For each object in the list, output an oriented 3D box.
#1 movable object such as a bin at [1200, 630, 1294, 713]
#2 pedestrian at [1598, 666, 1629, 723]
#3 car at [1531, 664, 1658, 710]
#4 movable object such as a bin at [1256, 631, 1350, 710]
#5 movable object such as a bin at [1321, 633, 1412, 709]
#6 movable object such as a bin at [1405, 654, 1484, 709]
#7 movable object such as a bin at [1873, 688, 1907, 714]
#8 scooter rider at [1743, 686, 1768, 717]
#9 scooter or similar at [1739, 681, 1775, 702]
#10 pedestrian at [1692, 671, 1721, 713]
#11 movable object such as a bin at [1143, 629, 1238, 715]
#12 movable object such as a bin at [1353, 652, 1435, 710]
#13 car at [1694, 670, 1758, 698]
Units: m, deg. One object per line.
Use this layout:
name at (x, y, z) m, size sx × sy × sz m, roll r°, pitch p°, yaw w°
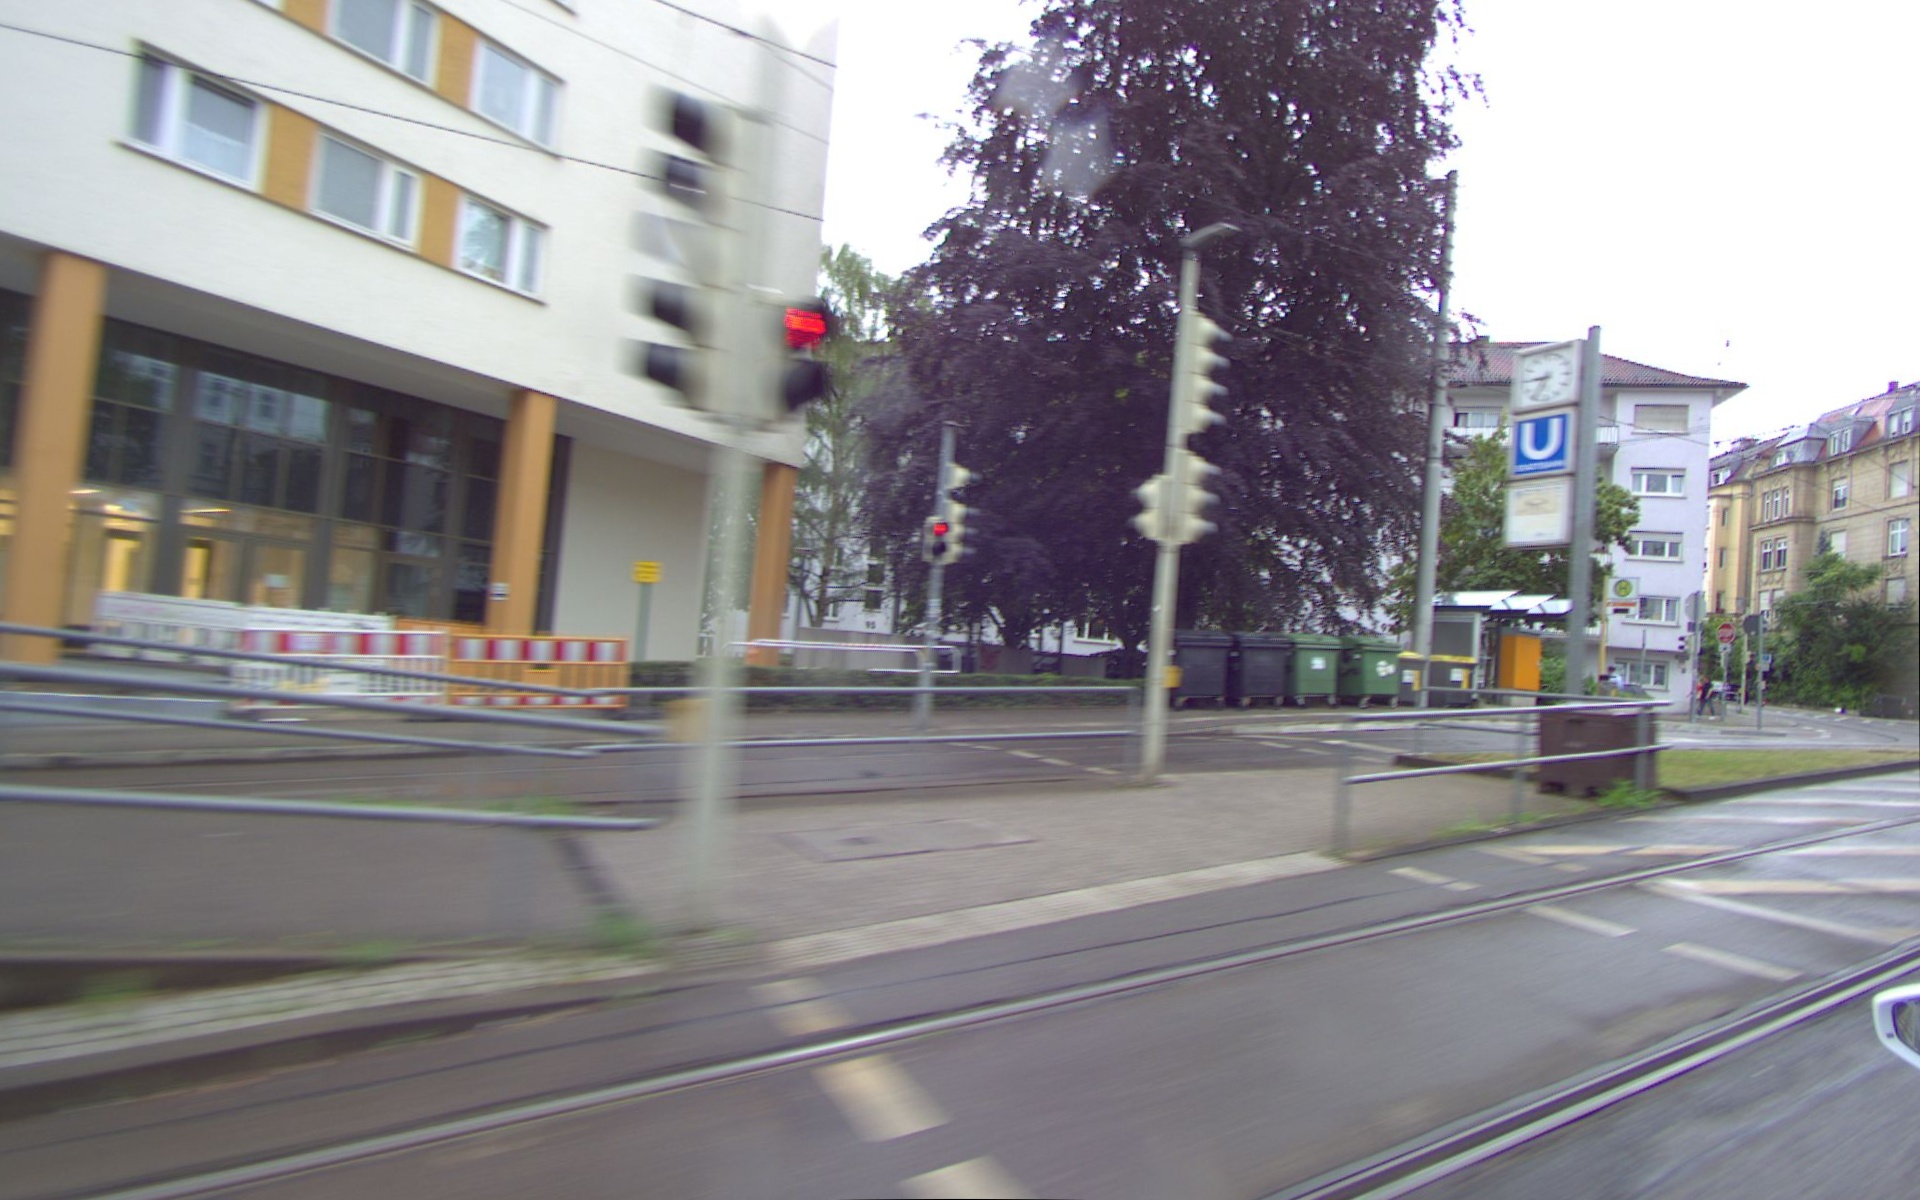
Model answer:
movable object such as a bin at (5.424, 1.334, 18.988) m, size 1.338 × 1.453 × 1.017 m, roll 2°, pitch 1°, yaw -28°
pedestrian at (20.010, 2.887, 30.746) m, size 0.769 × 1.706 × 0.564 m, roll 5°, pitch -3°, yaw -37°
car at (27.232, 3.713, 43.264) m, size 4.167 × 1.474 × 1.856 m, roll 3°, pitch 1°, yaw 16°
movable object such as a bin at (6.756, 1.379, 19.810) m, size 1.426 × 1.453 × 1.017 m, roll 2°, pitch 1°, yaw -28°
movable object such as a bin at (8.334, 1.442, 20.628) m, size 1.409 × 1.453 × 1.017 m, roll 2°, pitch 1°, yaw -28°
movable object such as a bin at (11.145, 1.853, 23.103) m, size 1.326 × 1.153 × 1.017 m, roll 2°, pitch 1°, yaw -28°
movable object such as a bin at (55.893, 6.040, 60.397) m, size 1.204 × 1.422 × 0.823 m, roll 3°, pitch 1°, yaw 2°
scooter rider at (49.171, 6.270, 62.087) m, size 0.613 × 1.727 × 0.843 m, roll 7°, pitch 0°, yaw -2°
scooter or similar at (49.287, 5.674, 62.141) m, size 0.505 × 1.063 × 2.008 m, roll 7°, pitch 0°, yaw -2°
pedestrian at (32.061, 3.954, 43.146) m, size 0.730 × 1.722 × 0.673 m, roll 3°, pitch 1°, yaw 16°
movable object such as a bin at (4.204, 1.302, 18.346) m, size 1.288 × 1.453 × 1.017 m, roll 2°, pitch 1°, yaw -28°
movable object such as a bin at (9.532, 1.758, 22.059) m, size 1.326 × 1.153 × 1.017 m, roll 2°, pitch 1°, yaw -28°
car at (53.373, 5.819, 70.102) m, size 1.736 × 1.409 × 4.002 m, roll 6°, pitch 1°, yaw 9°
